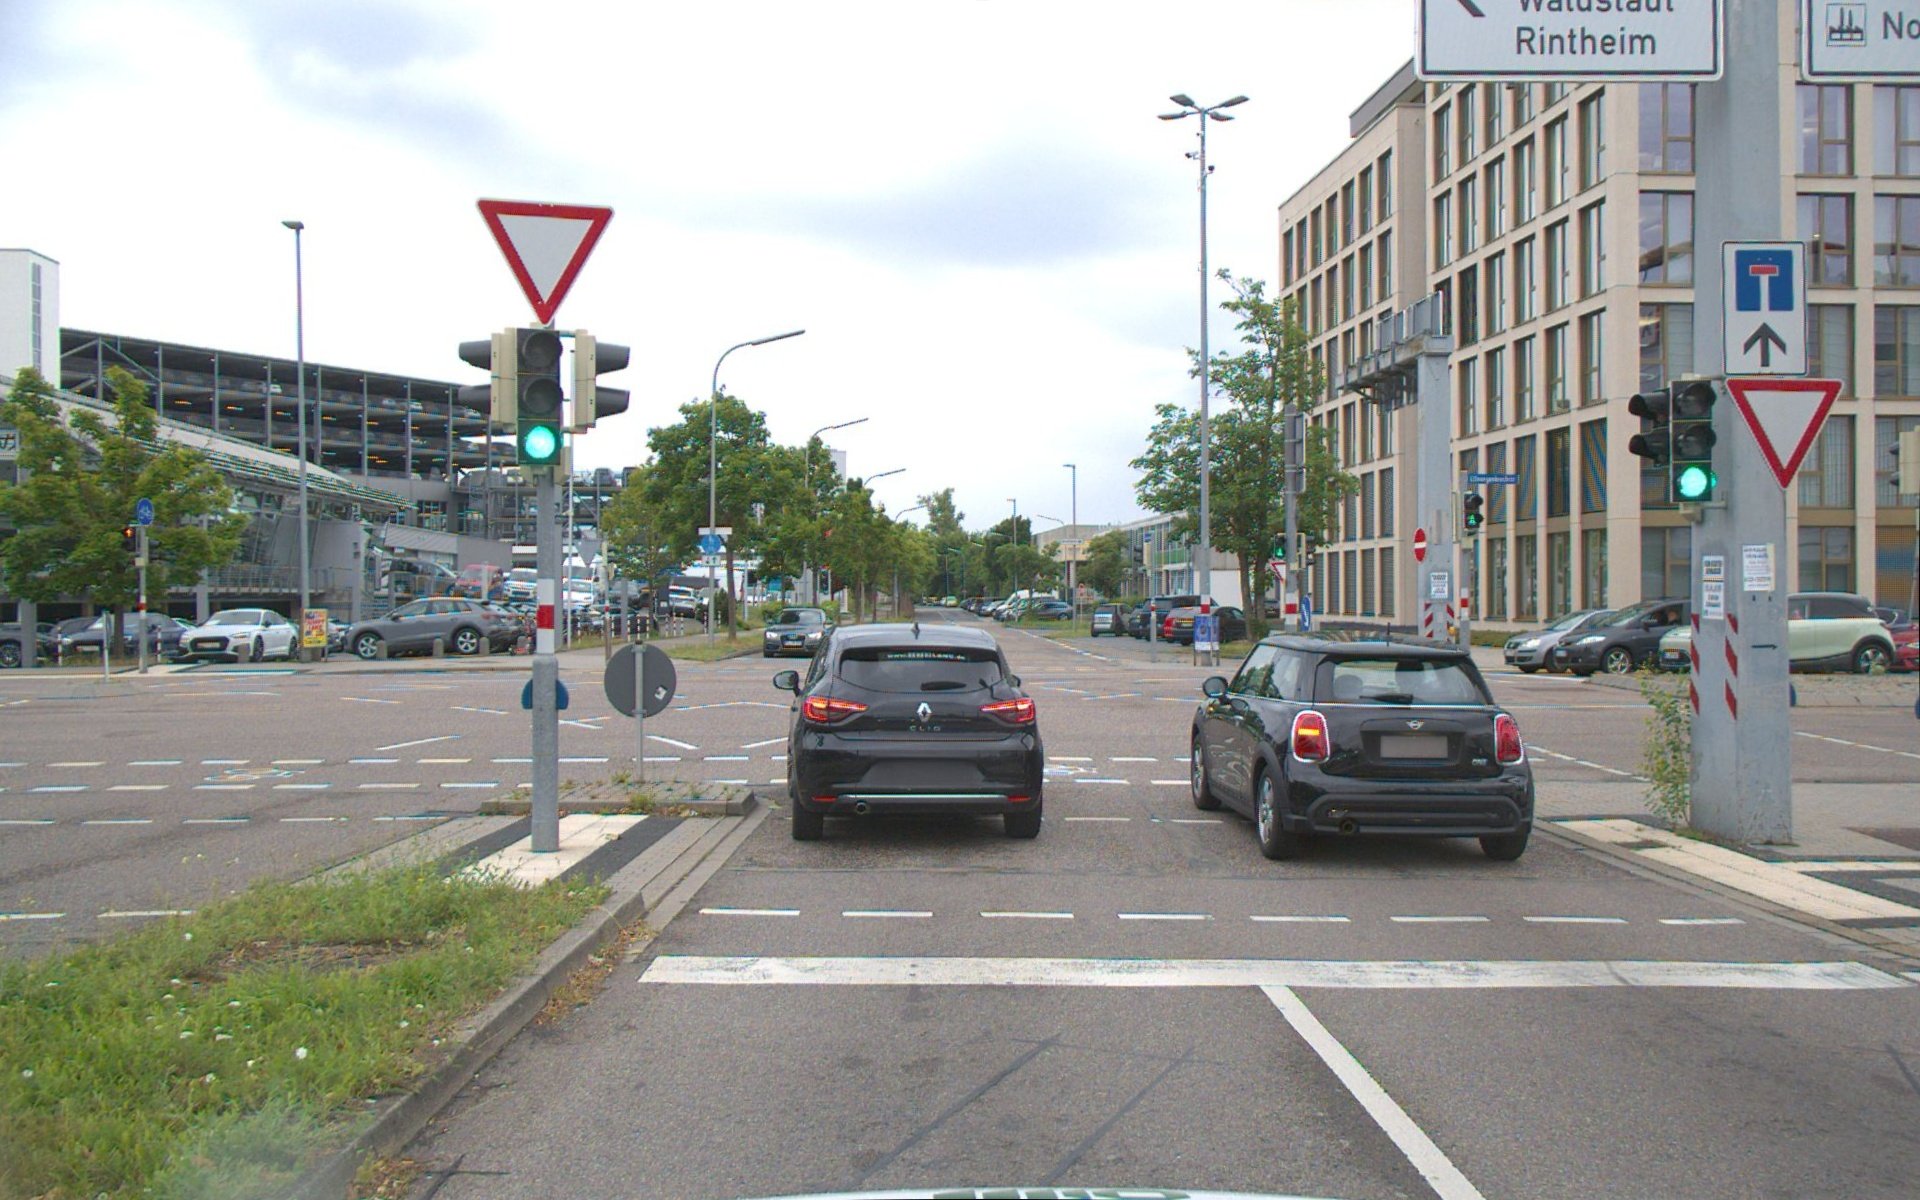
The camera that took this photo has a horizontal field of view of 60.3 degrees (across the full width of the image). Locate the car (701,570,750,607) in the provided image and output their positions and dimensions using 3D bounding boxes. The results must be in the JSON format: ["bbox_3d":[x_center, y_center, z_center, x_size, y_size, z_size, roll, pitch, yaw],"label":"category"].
[{"bbox_3d":[-11.441,-0.525,80.845,1.954,1.646,3.998,1,-1,-3],"label":"car"}]

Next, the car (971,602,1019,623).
[{"bbox_3d":[3.793,1.357,178.579,5.069,2.049,2.142,1,-1,-2],"label":"car"}]

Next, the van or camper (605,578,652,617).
[{"bbox_3d":[-18.165,-0.123,90.776,1.954,2.049,3.996,1,-1,-4],"label":"van or camper"}]

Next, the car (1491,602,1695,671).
[{"bbox_3d":[14.425,0.840,37.824,4.005,1.457,1.749,1,-1,-5],"label":"car"}]

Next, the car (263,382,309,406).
[{"bbox_3d":[-60.979,-18.591,149.632,3.914,1.696,1.995,1,0,31],"label":"car"}]

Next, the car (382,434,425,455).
[{"bbox_3d":[-54.163,-15.142,160.964,3.914,1.696,1.995,1,0,31],"label":"car"}]

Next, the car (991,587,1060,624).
[{"bbox_3d":[5.882,0.523,148.035,5.993,3.171,2.133,1,-1,-2],"label":"car"}]

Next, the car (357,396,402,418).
[{"bbox_3d":[-55.646,-18.508,158.488,3.914,1.696,1.995,1,0,31],"label":"car"}]

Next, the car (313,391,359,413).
[{"bbox_3d":[-58.235,-18.464,154.324,3.914,1.696,1.995,1,0,31],"label":"car"}]

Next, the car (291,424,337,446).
[{"bbox_3d":[-59.421,-15.140,152.144,3.914,1.696,1.995,1,0,31],"label":"car"}]

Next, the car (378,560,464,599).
[{"bbox_3d":[-28.063,-1.072,86.188,3.908,1.870,1.758,1,-1,-4],"label":"car"}]

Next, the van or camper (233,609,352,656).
[{"bbox_3d":[-26.297,1.293,65.214,3.909,1.741,1.845,1,-1,-5],"label":"van or camper"}]

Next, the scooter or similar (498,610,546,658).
[{"bbox_3d":[-11.763,0.895,44.480,0.545,1.240,1.561,2,0,13],"label":"scooter or similar"}]

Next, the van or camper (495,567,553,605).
[{"bbox_3d":[-20.908,-0.650,79.393,1.954,1.680,3.996,1,-1,-4],"label":"van or camper"}]

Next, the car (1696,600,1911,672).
[{"bbox_3d":[19.391,0.824,38.122,4.055,1.517,1.870,1,-1,-5],"label":"car"}]

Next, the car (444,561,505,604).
[{"bbox_3d":[-23.312,-0.819,79.600,1.954,1.881,3.996,1,-1,-4],"label":"car"}]

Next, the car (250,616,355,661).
[{"bbox_3d":[-29.055,1.702,73.139,3.910,1.870,1.757,1,-1,-7],"label":"car"}]

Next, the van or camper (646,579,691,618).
[{"bbox_3d":[-16.012,-0.070,90.999,1.954,2.049,3.996,1,-1,-4],"label":"van or camper"}]

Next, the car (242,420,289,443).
[{"bbox_3d":[-62.062,-15.023,147.792,3.914,1.696,1.995,1,0,31],"label":"car"}]

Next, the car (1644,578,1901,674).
[{"bbox_3d":[15.311,0.498,31.286,3.977,1.672,1.902,1,-1,-6],"label":"car"}]

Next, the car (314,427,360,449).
[{"bbox_3d":[-58.125,-15.137,154.289,3.914,1.696,1.995,1,0,31],"label":"car"}]

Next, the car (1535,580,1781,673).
[{"bbox_3d":[14.521,0.562,34.546,4.321,1.800,1.998,1,-1,-5],"label":"car"}]

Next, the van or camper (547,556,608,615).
[{"bbox_3d":[-20.931,-0.741,90.772,2.486,3.080,4.839,1,-1,-4],"label":"van or camper"}]

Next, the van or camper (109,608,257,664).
[{"bbox_3d":[-25.493,1.176,54.378,3.909,1.707,1.998,1,-1,-5],"label":"van or camper"}]

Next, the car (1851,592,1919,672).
[{"bbox_3d":[21.356,0.724,35.048,3.908,1.629,1.998,1,-1,-4],"label":"car"}]

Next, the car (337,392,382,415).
[{"bbox_3d":[-56.890,-18.579,156.647,3.914,1.696,1.995,1,0,31],"label":"car"}]

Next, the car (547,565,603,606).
[{"bbox_3d":[-18.491,-0.678,79.556,1.954,1.855,3.996,1,-1,-4],"label":"car"}]

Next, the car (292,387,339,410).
[{"bbox_3d":[-59.351,-18.527,152.296,3.914,1.696,1.995,1,0,31],"label":"car"}]

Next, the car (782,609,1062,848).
[{"bbox_3d":[-0.264,0.842,12.354,1.721,1.460,3.999,1,-1,-1],"label":"car"}]

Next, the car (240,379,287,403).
[{"bbox_3d":[-62.217,-18.654,147.746,3.914,1.696,1.995,1,0,31],"label":"car"}]

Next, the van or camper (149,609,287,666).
[{"bbox_3d":[-25.674,1.288,57.334,3.909,1.848,1.845,1,-1,-5],"label":"van or camper"}]

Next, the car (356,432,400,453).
[{"bbox_3d":[-55.727,-15.090,158.371,3.914,1.696,1.995,1,0,31],"label":"car"}]

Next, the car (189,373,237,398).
[{"bbox_3d":[-64.707,-18.536,143.264,3.914,1.696,1.995,1,0,31],"label":"car"}]

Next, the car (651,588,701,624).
[{"bbox_3d":[-13.751,0.309,80.195,1.954,1.646,3.996,1,-1,-4],"label":"car"}]

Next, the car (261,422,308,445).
[{"bbox_3d":[-61.202,-15.102,149.887,3.914,1.696,1.995,1,0,31],"label":"car"}]

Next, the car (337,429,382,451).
[{"bbox_3d":[-56.862,-15.124,156.502,3.914,1.696,1.995,1,0,31],"label":"car"}]

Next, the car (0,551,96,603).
[{"bbox_3d":[-32.625,-0.805,58.947,1.784,1.691,3.995,1,-1,-5],"label":"car"}]

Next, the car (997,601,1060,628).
[{"bbox_3d":[5.277,1.124,128.665,4.690,1.924,2.142,1,-1,-3],"label":"car"}]

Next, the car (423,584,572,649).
[{"bbox_3d":[-16.110,0.586,57.787,4.682,2.049,1.997,-2,-1,-7],"label":"car"}]
